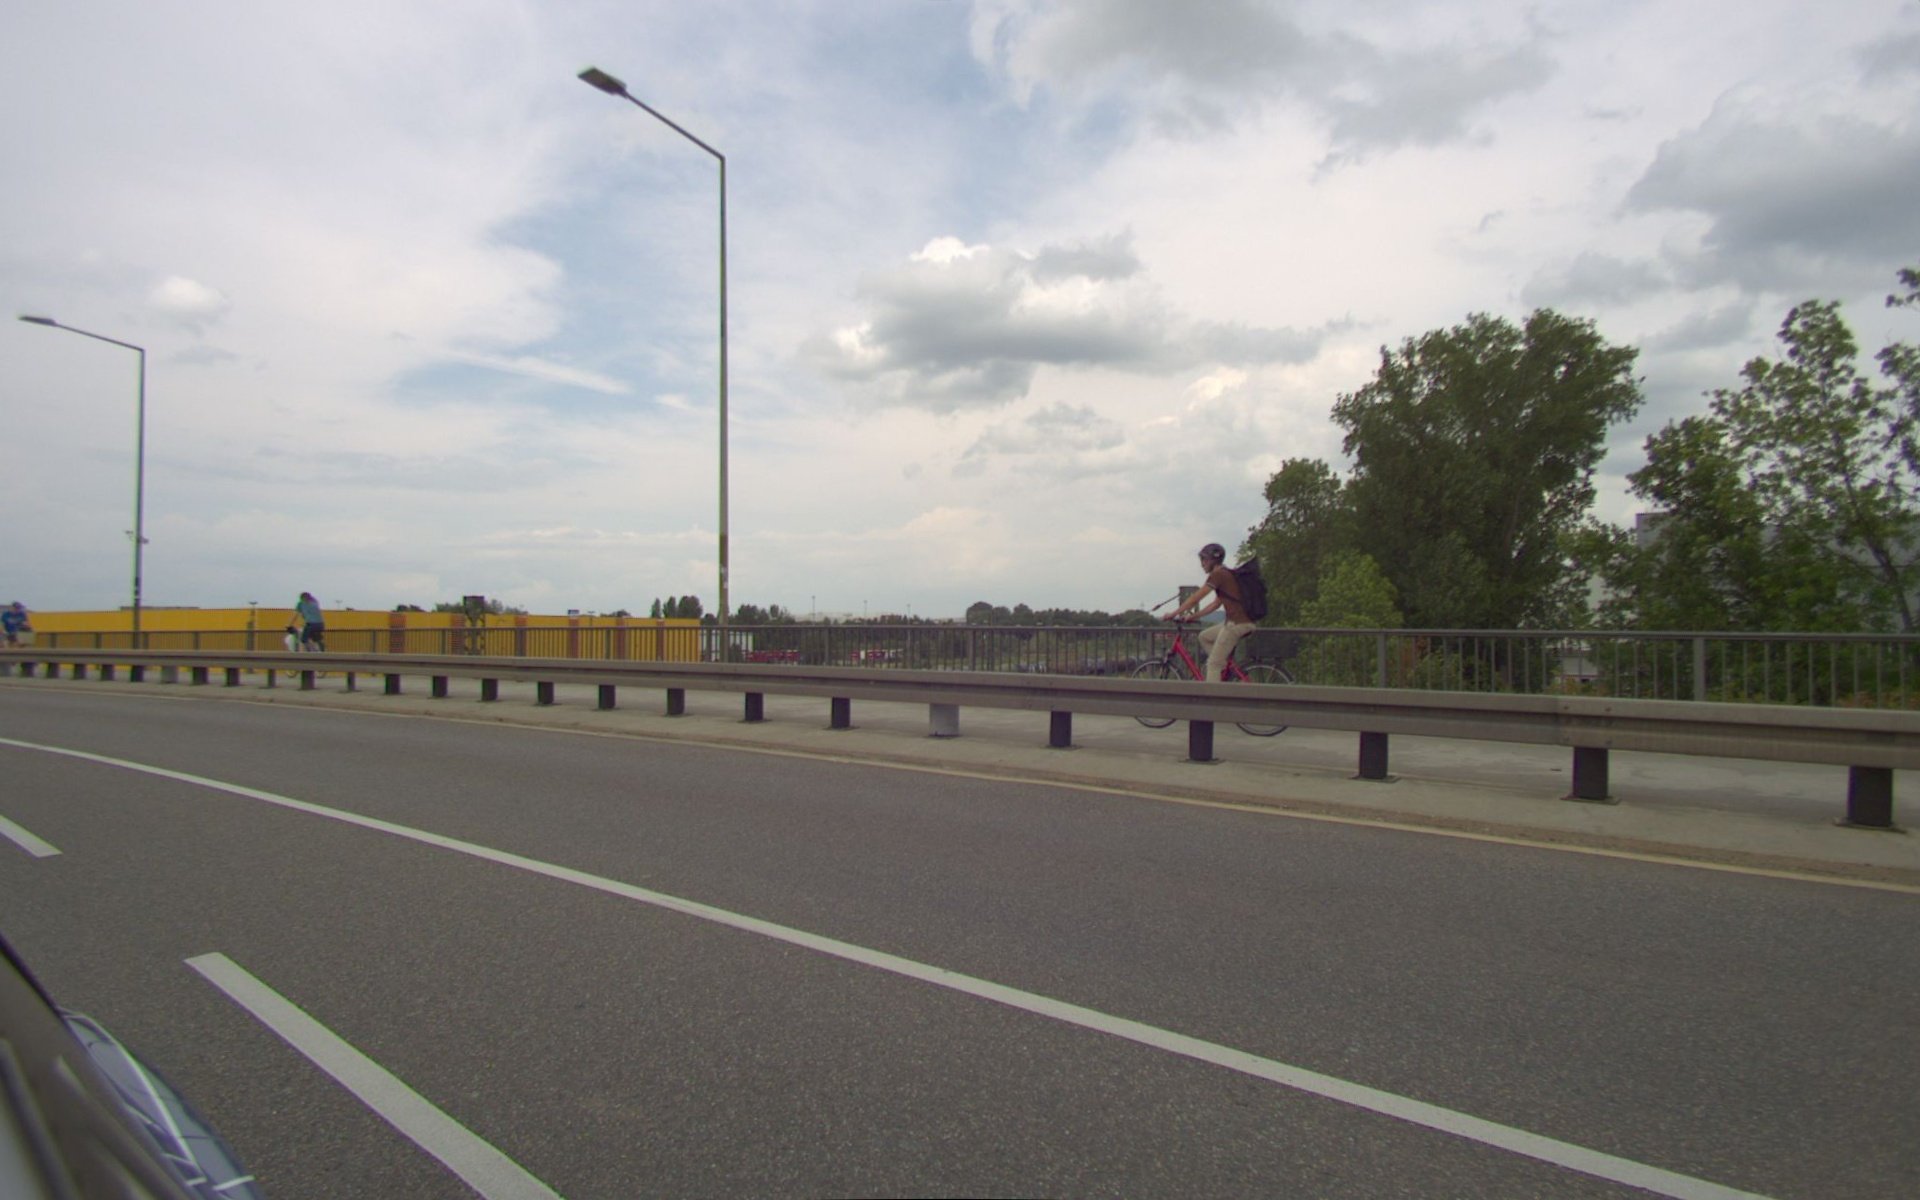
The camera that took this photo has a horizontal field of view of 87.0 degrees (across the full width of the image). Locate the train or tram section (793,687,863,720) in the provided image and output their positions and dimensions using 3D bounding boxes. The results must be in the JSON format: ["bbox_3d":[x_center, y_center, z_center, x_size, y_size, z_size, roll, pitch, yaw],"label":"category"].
[{"bbox_3d":[-17.477,13.703,135.058,2.074,4.127,12.634,-1,-5,29],"label":"train or tram section"}]

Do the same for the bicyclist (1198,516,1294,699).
[{"bbox_3d":[2.710,0.061,9.575,0.648,1.643,0.764,0,0,37],"label":"bicyclist"}]

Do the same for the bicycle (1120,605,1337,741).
[{"bbox_3d":[2.543,0.657,9.707,1.901,1.183,0.629,-1,0,35],"label":"bicycle"}]

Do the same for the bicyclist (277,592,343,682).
[{"bbox_3d":[-13.390,0.745,20.856,0.792,1.822,0.844,-1,0,26],"label":"bicyclist"}]

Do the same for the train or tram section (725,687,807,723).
[{"bbox_3d":[-23.600,12.747,124.044,2.074,4.127,12.634,-1,-5,29],"label":"train or tram section"}]

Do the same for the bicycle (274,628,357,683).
[{"bbox_3d":[-13.200,1.114,20.719,1.752,1.075,0.642,-1,-1,27],"label":"bicycle"}]

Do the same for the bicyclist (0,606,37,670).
[{"bbox_3d":[-23.198,0.919,24.804,0.752,1.551,0.607,-1,0,24],"label":"bicyclist"}]

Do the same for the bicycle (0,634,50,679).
[{"bbox_3d":[-22.952,1.362,24.657,1.799,1.053,0.490,-1,0,25],"label":"bicycle"}]
